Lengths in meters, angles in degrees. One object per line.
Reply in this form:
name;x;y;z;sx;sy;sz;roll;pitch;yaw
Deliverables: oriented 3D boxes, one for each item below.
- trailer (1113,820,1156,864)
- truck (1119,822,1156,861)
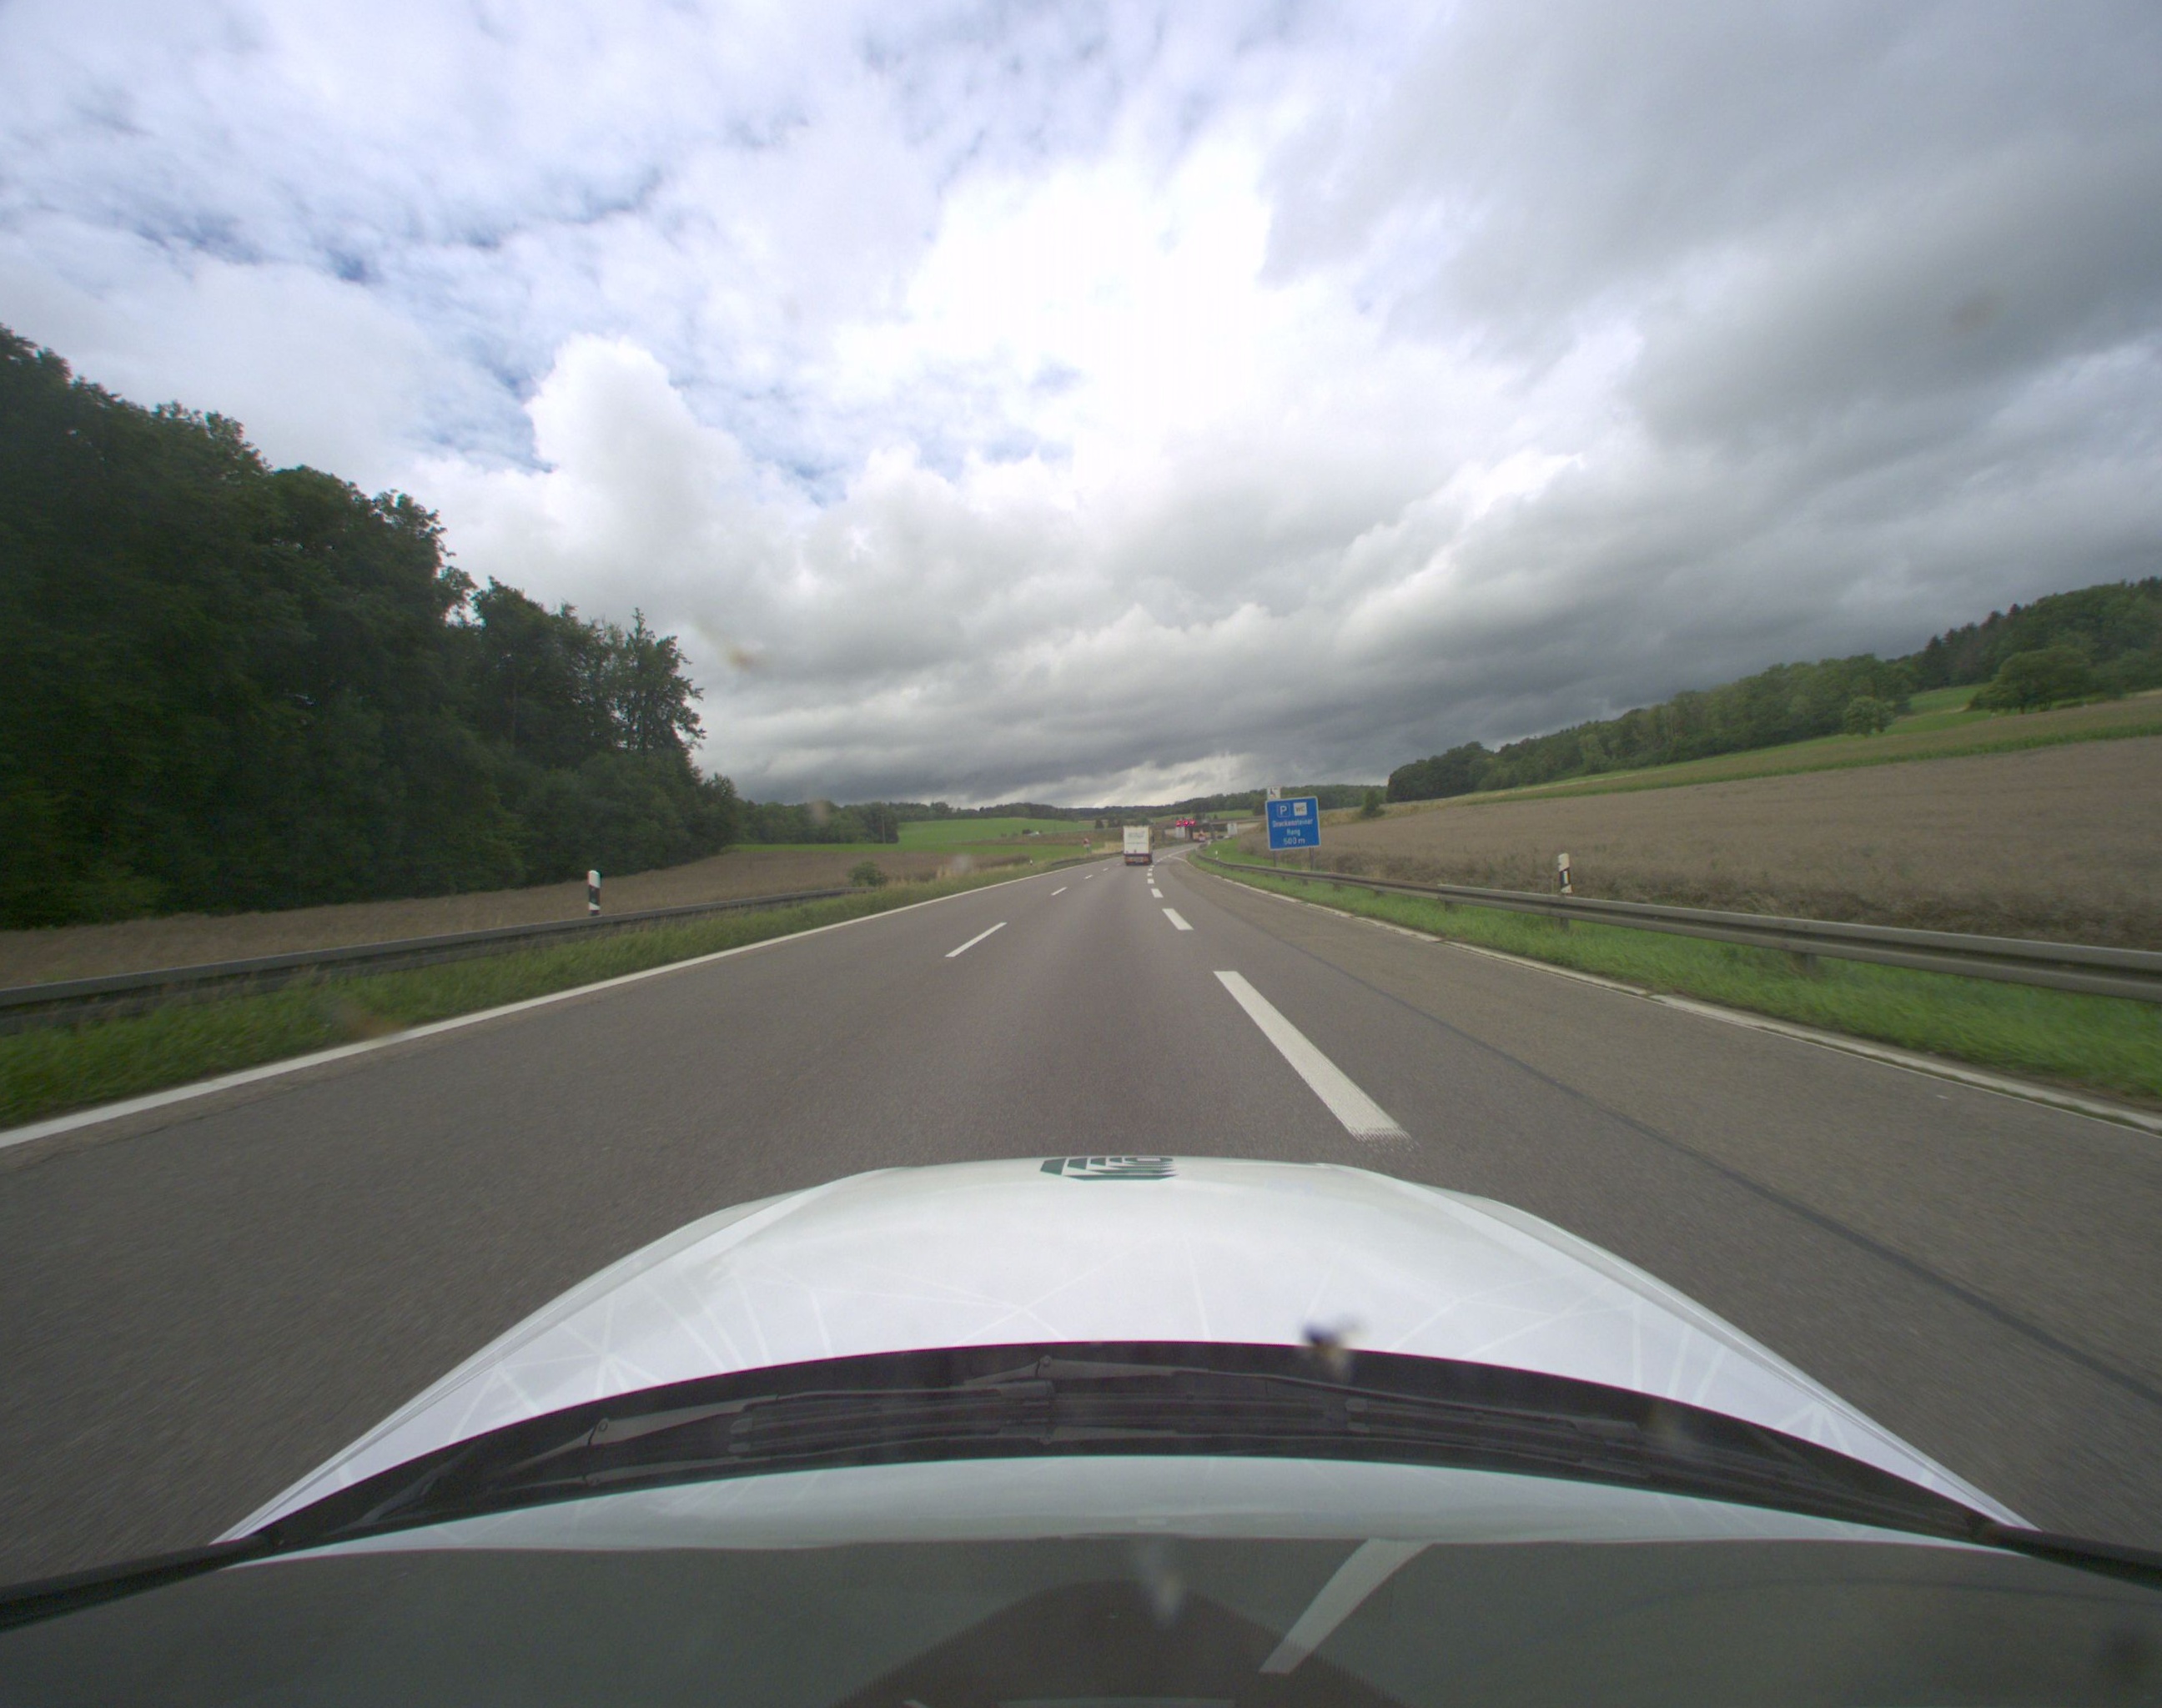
trailer;5.842;-1.193;86.264;3.786;4.174;14.834;-2;0;6
truck;6.615;-1.373;93.356;3.768;4.132;8.278;-2;0;6
